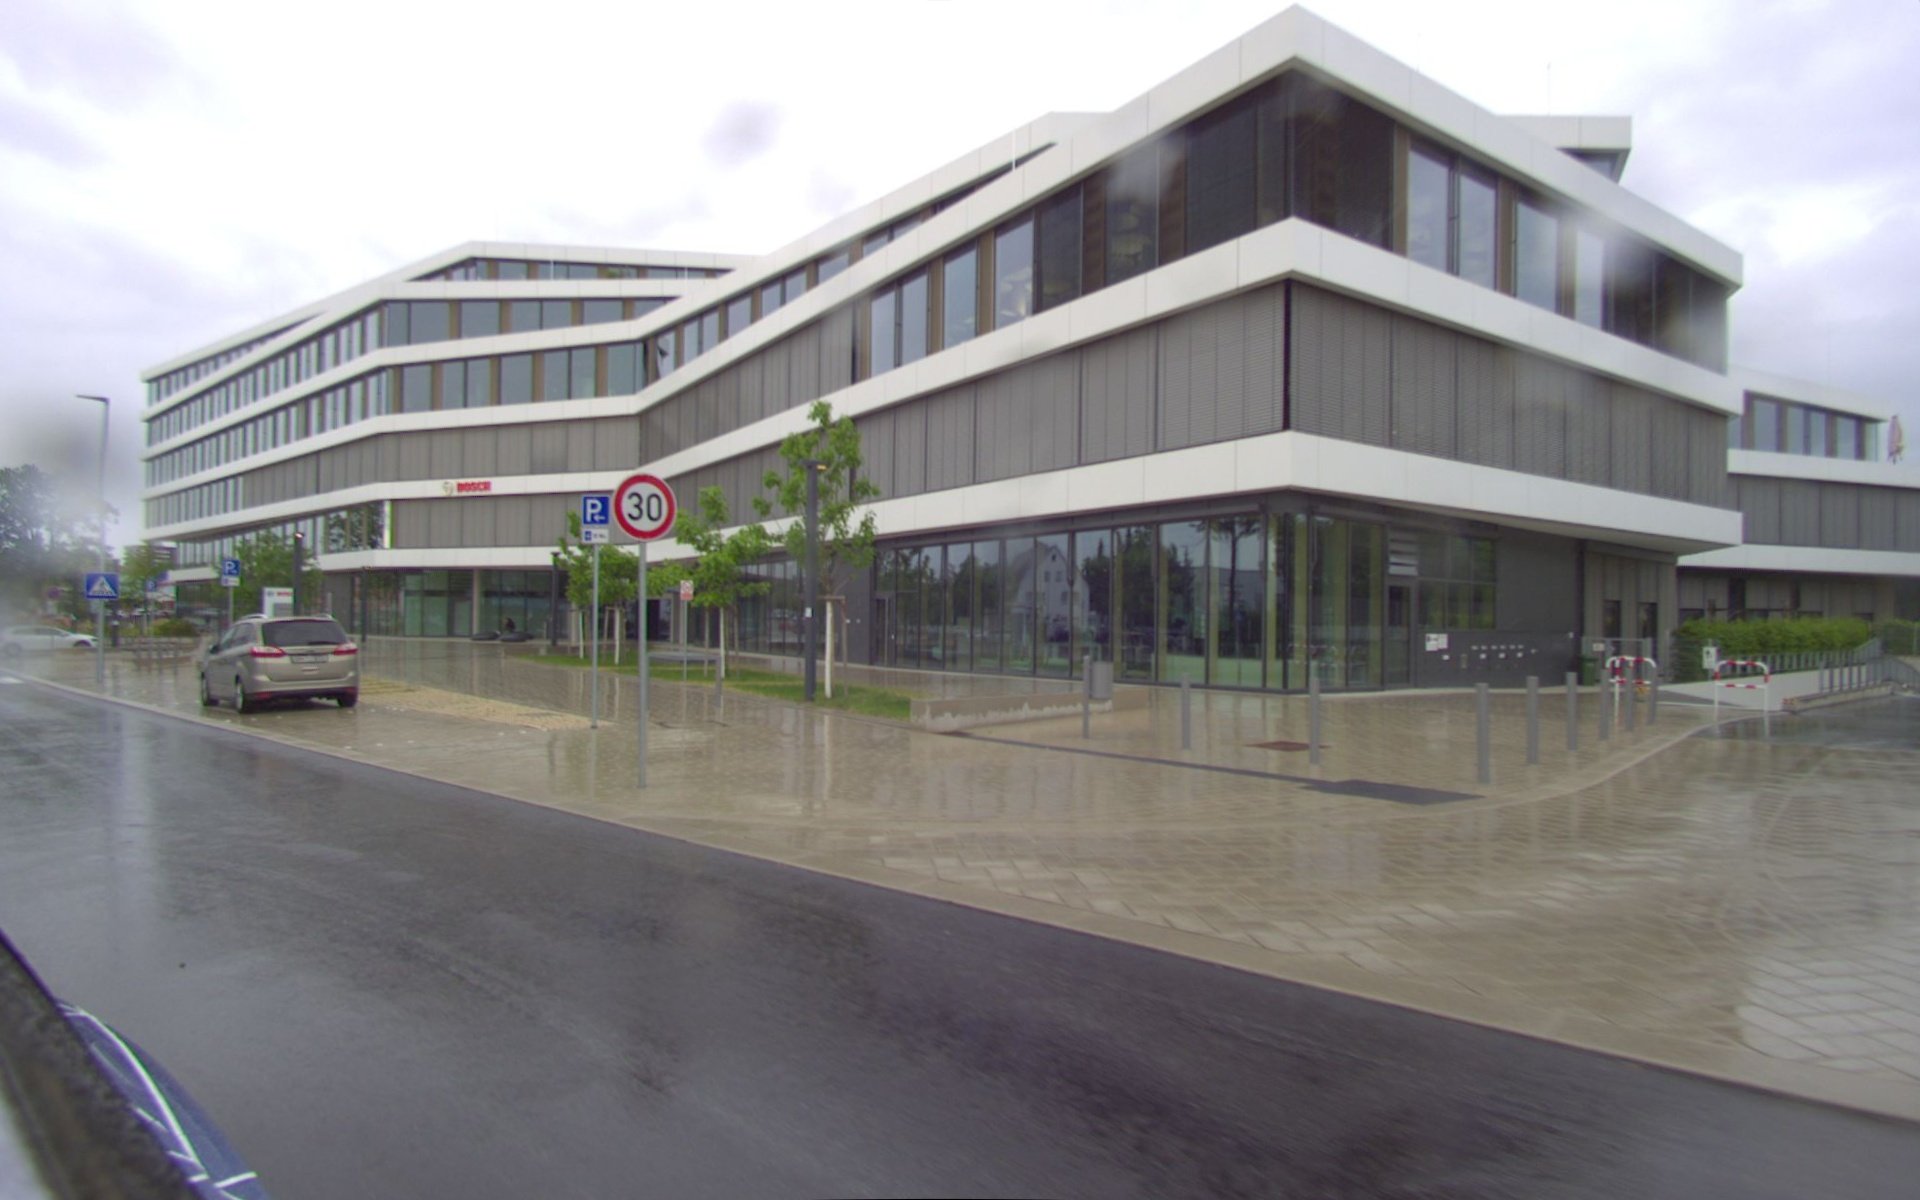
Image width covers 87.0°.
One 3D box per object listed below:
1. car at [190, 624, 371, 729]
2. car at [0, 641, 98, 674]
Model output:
[{"bbox_3d":[-12.580,1.314,18.630,4.323,1.719,1.817,-2,-2,43],"label":"car"},{"bbox_3d":[-45.493,2.847,50.128,4.109,1.430,2.001,-1,-1,-44],"label":"car"}]
